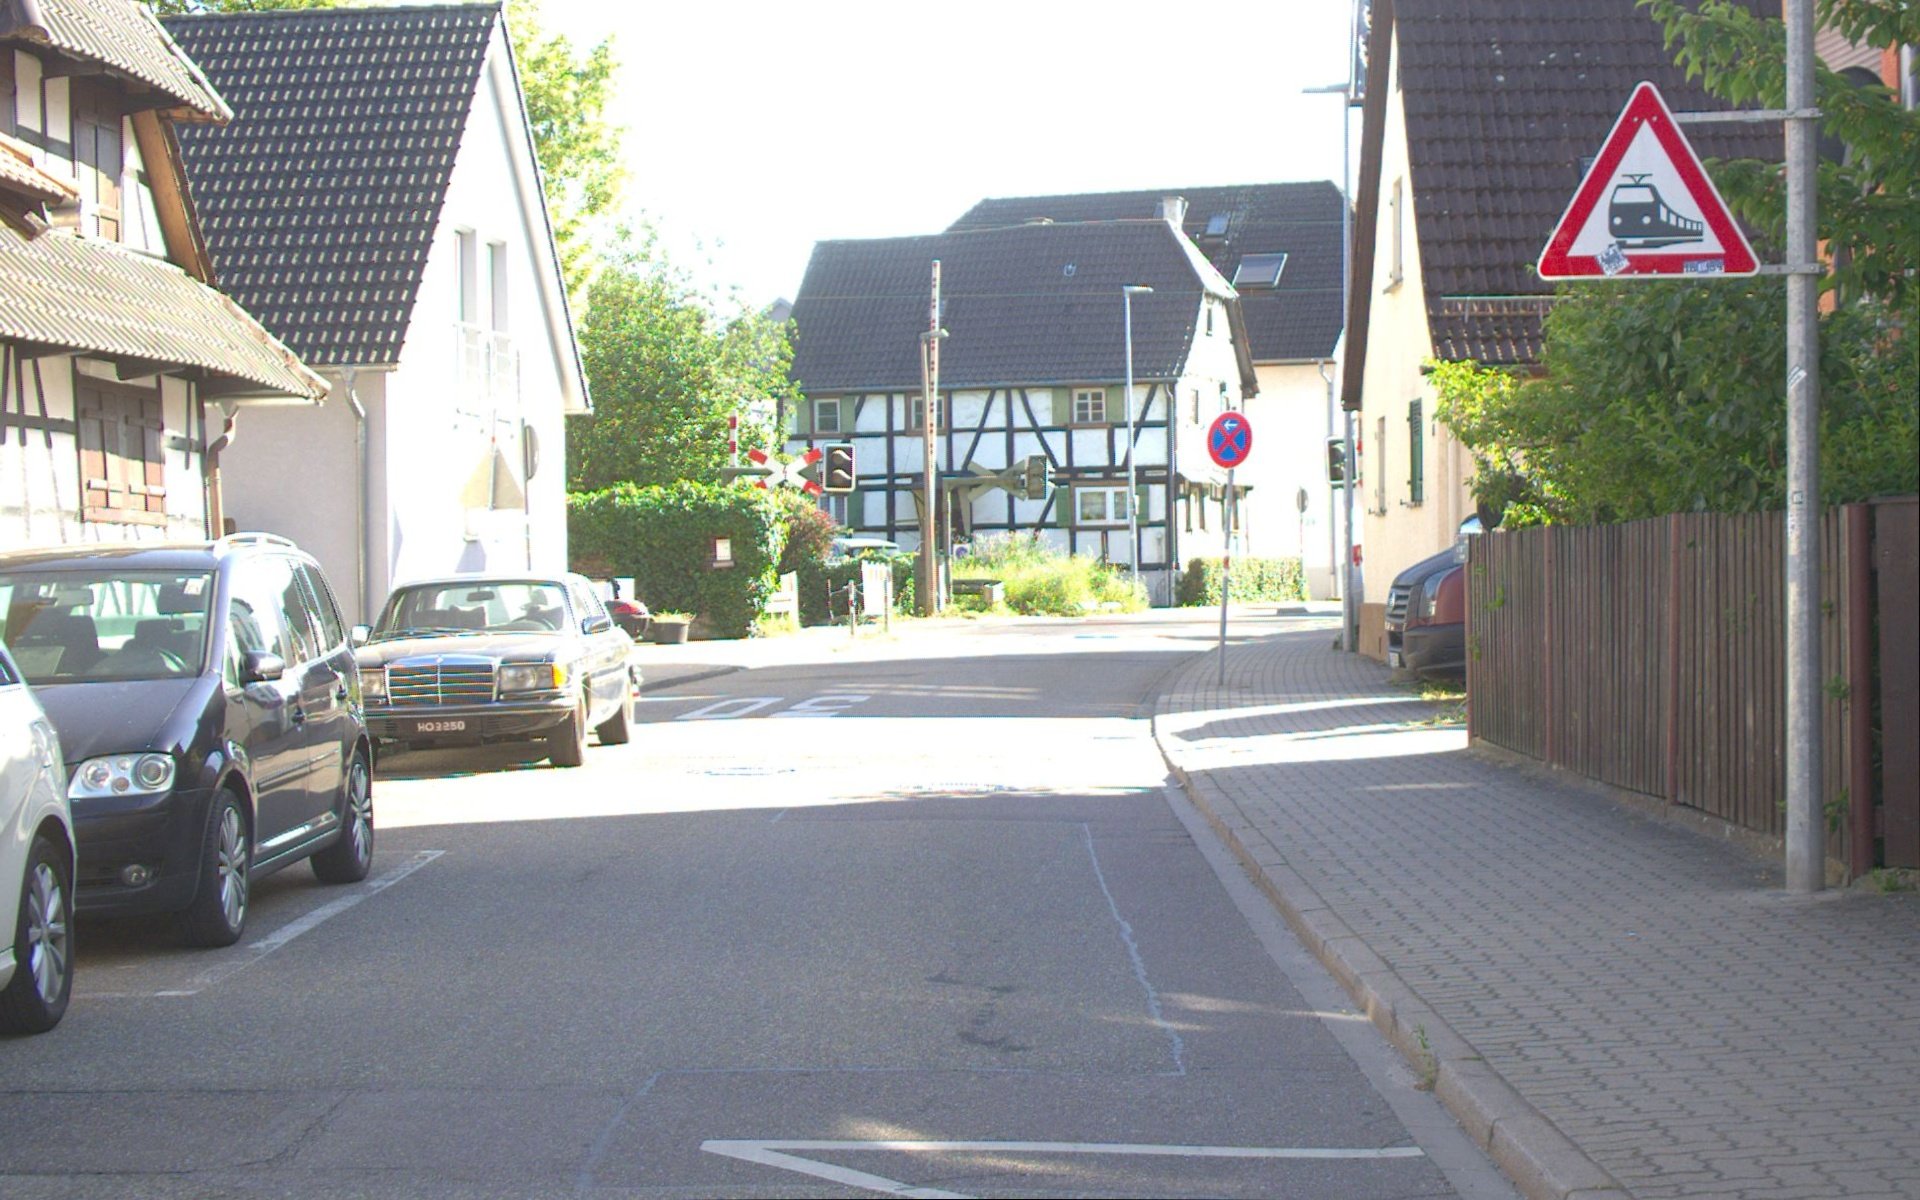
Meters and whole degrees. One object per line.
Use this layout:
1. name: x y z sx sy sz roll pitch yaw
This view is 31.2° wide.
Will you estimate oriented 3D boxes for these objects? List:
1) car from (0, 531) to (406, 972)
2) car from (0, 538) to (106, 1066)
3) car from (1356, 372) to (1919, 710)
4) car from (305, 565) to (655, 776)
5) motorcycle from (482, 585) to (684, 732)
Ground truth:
1. car: -3.668 0.543 14.747 1.784 1.599 4.361 -1 0 1
2. car: -3.767 0.611 9.250 1.816 1.561 4.168 -1 0 1
3. car: 6.517 -0.517 29.714 5.803 2.646 1.968 -2 0 -3
4. car: -3.541 0.479 26.290 1.844 1.401 5.036 -2 0 1
5. motorcycle: -3.305 0.495 29.983 0.625 1.227 1.993 -2 1 -45
